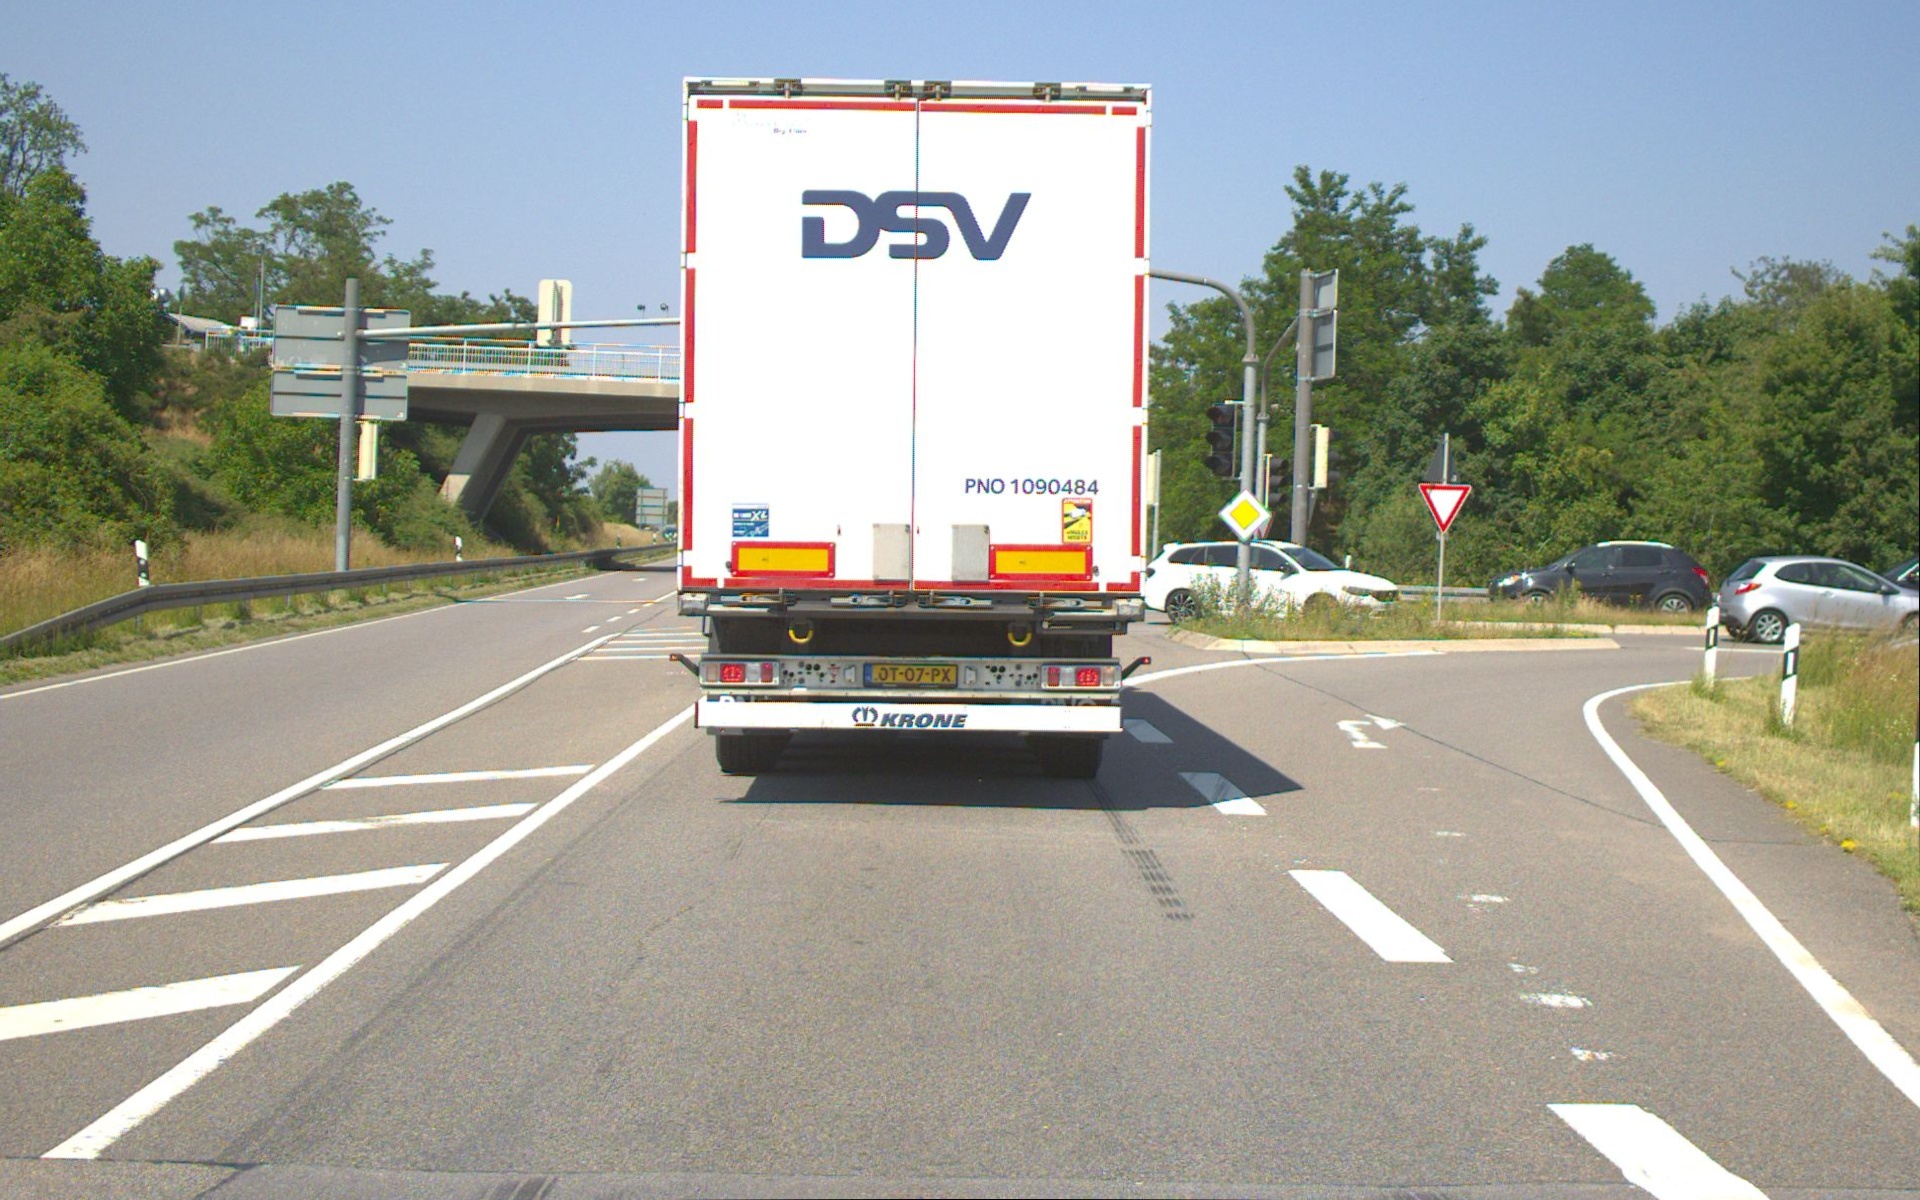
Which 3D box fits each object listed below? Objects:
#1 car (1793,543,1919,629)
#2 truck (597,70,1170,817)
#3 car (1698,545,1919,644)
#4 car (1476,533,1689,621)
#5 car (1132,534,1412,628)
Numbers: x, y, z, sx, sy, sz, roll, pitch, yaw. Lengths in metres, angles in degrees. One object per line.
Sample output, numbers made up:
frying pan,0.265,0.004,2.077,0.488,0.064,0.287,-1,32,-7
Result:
car,18.440,-0.244,65.952,4.486,1.592,1.767,1,0,3
truck,-0.459,-0.907,23.313,2.987,3.928,9.876,1,1,-1
car,14.368,-0.089,57.420,3.681,1.561,1.739,1,0,1
car,12.296,-0.459,68.053,3.986,1.634,1.841,1,0,6
car,5.355,-0.335,59.068,4.476,1.561,1.736,0,1,29
